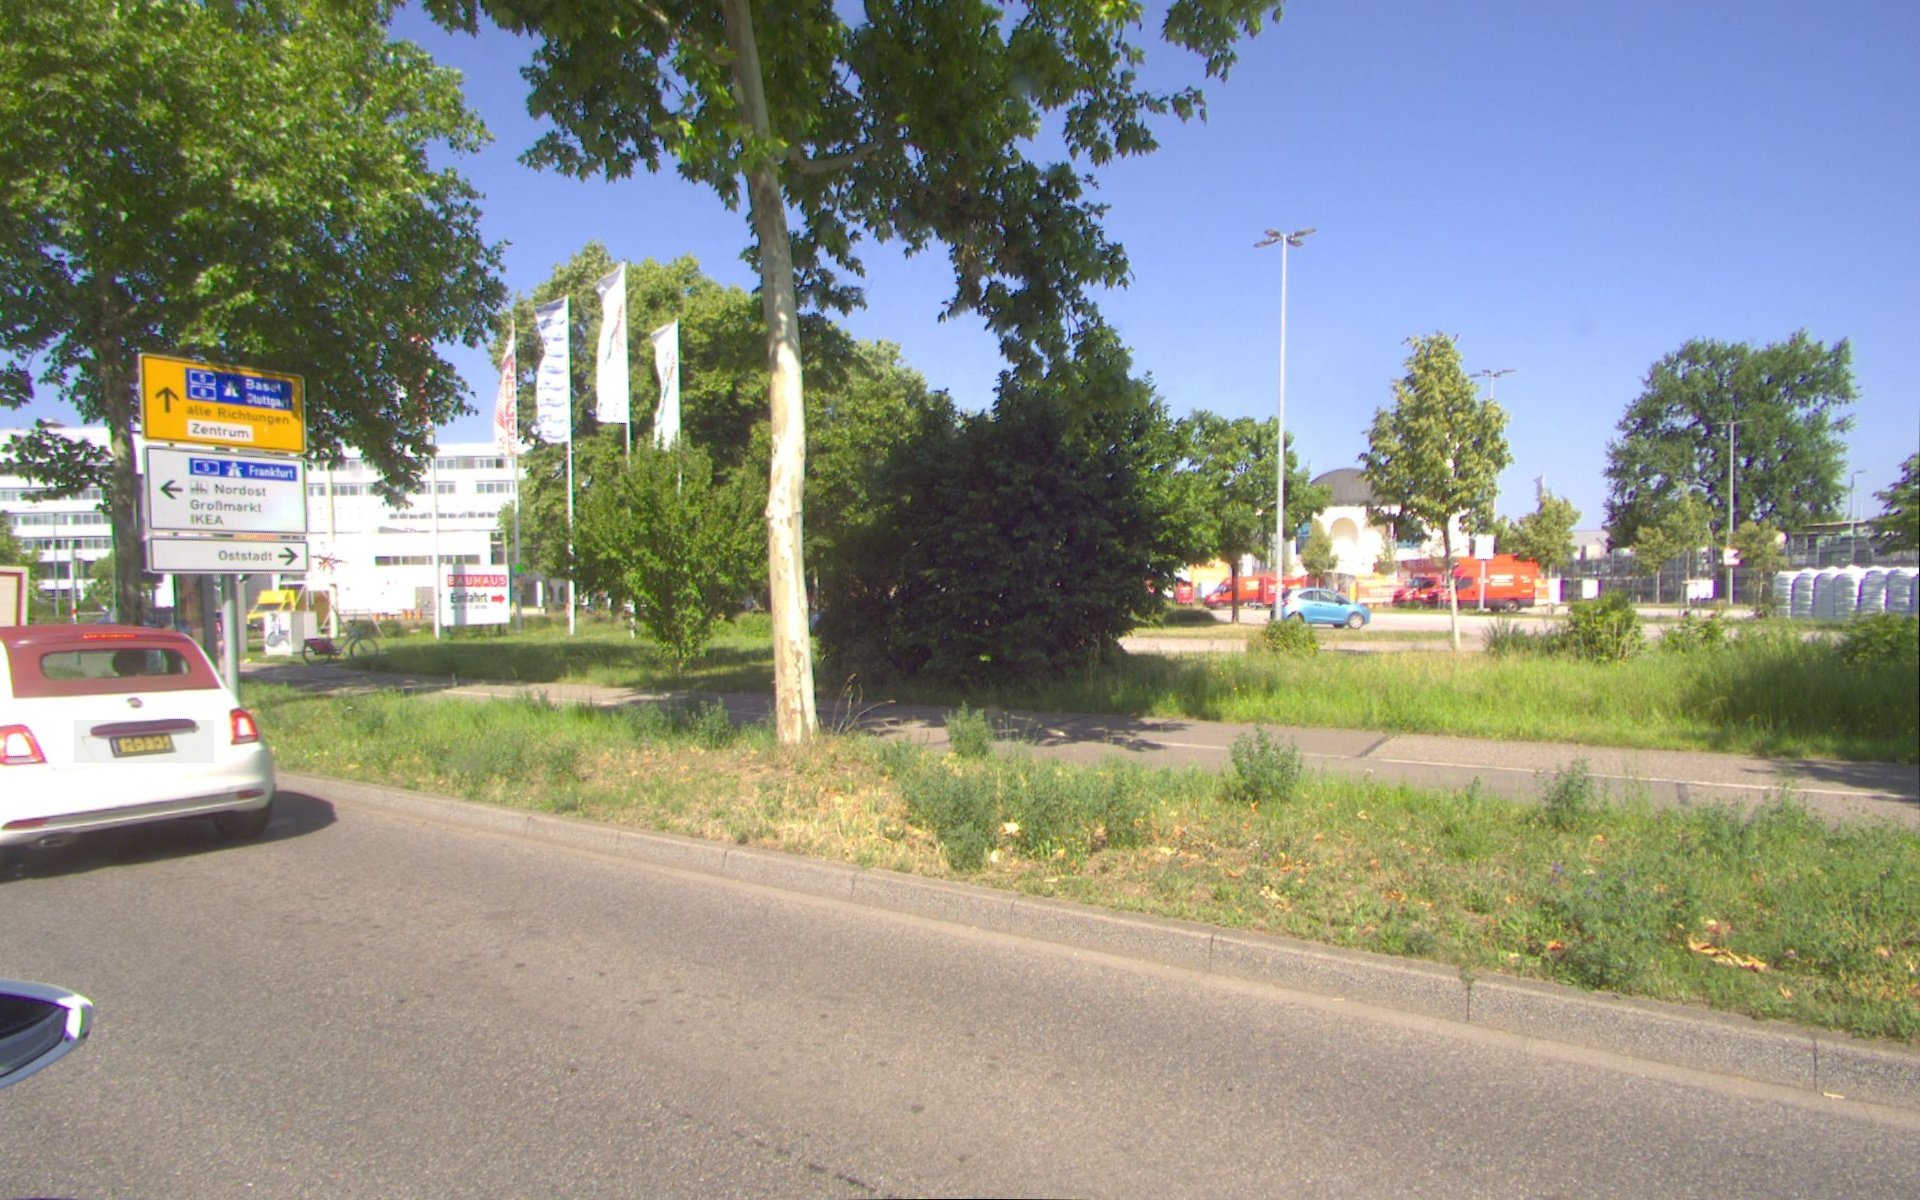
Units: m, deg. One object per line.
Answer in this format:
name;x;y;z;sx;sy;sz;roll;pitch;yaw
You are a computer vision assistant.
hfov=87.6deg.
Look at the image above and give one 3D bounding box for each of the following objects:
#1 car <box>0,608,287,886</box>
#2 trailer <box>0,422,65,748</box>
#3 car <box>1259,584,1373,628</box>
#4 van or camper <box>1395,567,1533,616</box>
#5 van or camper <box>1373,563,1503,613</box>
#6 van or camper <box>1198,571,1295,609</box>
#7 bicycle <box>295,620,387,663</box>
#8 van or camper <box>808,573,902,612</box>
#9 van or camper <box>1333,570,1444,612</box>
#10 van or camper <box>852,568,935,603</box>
car;-6.307;0.868;6.965;3.214;1.533;1.536;-1;-2;32
trailer;-16.623;-0.074;13.729;12.500;3.668;2.896;-1;-2;31
car;13.143;0.239;37.063;3.580;1.561;1.753;0;-2;-3
van or camper;29.408;-0.467;58.556;7.145;2.739;2.001;0;-1;-2
van or camper;29.684;-0.720;62.305;7.145;2.979;2.001;0;-1;-2
van or camper;22.944;-0.773;80.349;7.145;2.979;2.001;0;-1;-2
bicycle;-16.356;1.077;26.505;1.985;1.027;0.615;-1;1;-41
van or camper;-8.152;-0.540;78.374;7.145;2.979;2.001;0;-1;-2
van or camper;30.667;-0.631;71.794;7.145;2.979;2.001;0;-1;-2
van or camper;-5.806;-1.265;87.488;7.145;2.979;2.001;0;-1;-2
